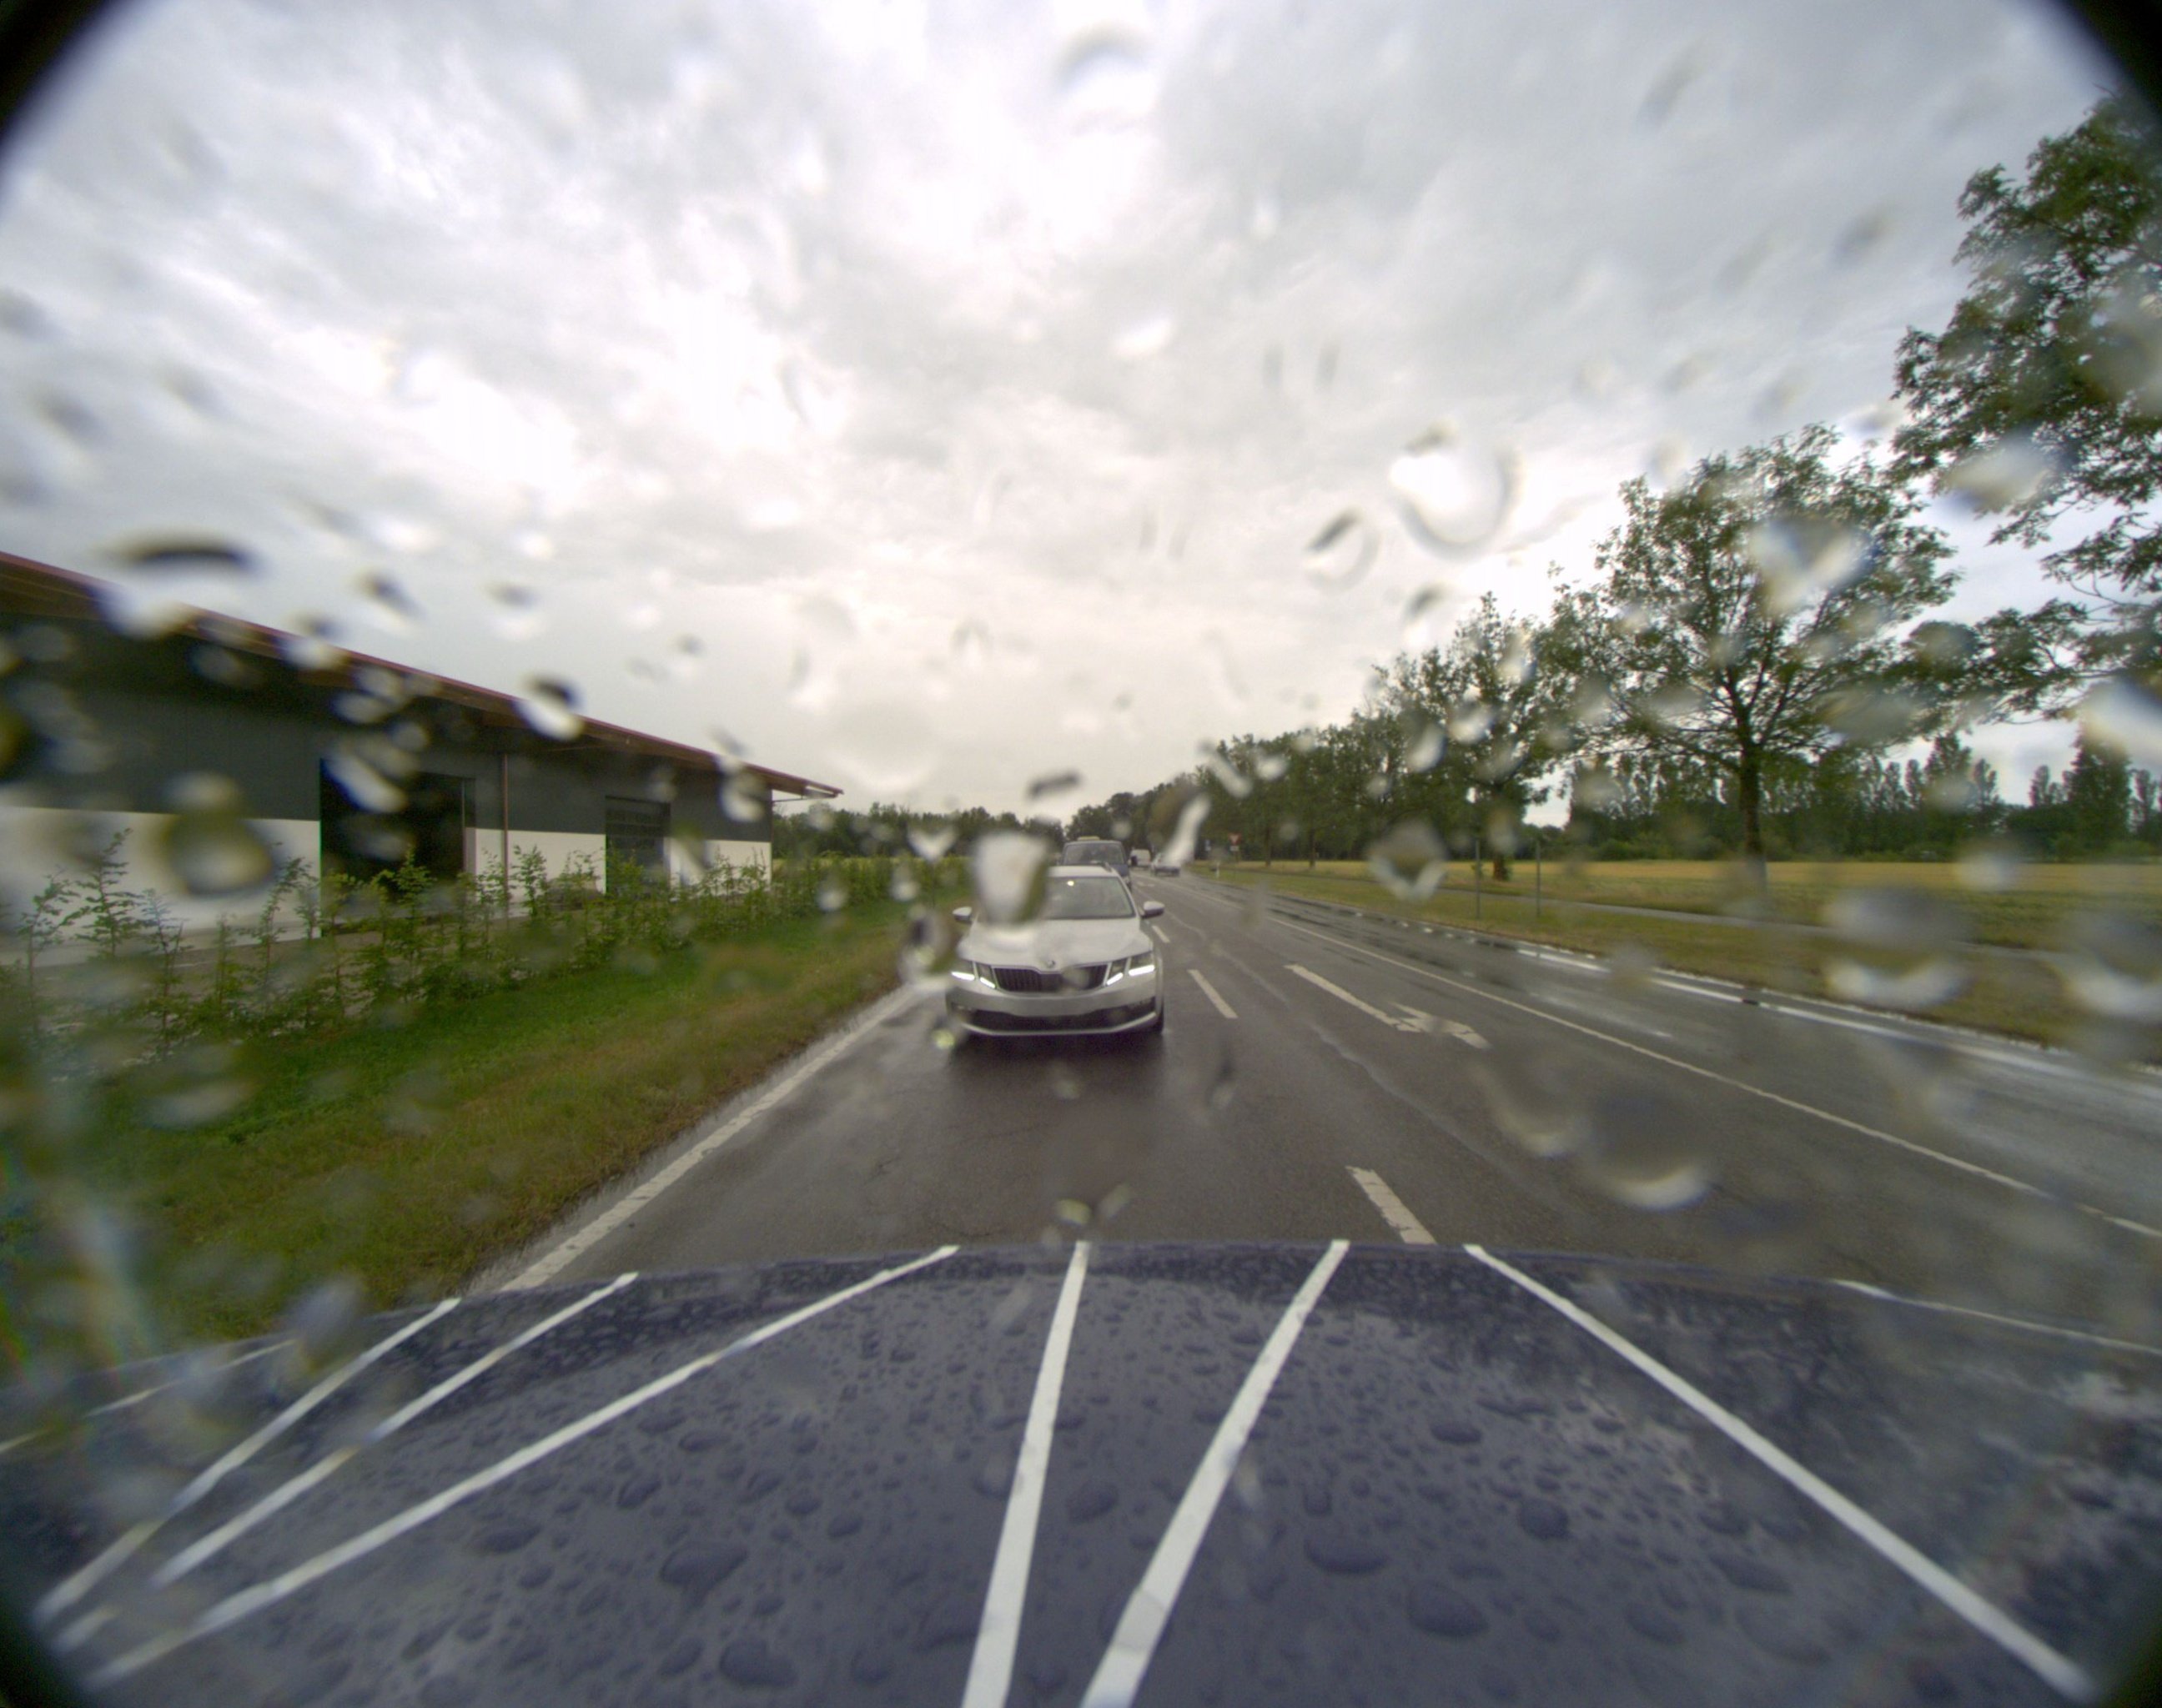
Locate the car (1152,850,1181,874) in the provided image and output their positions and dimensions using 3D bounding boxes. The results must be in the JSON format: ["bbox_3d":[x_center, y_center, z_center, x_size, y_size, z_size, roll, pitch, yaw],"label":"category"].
[{"bbox_3d":[6.242,0.564,55.844,1.708,1.661,4.156,1,0,2],"label":"car"}]

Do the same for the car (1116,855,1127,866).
[{"bbox_3d":[5.920,0.985,110.691,1.504,1.521,3.301,1,1,2],"label":"car"}]

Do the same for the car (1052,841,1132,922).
[{"bbox_3d":[0.296,0.650,20.183,1.892,1.939,4.000,0,1,1],"label":"car"}]

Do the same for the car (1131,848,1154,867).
[{"bbox_3d":[6.102,0.319,75.953,1.921,1.851,4.684,1,1,0],"label":"car"}]

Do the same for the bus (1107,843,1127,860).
[{"bbox_3d":[6.466,-0.530,138.914,2.958,2.895,12.473,0,1,0],"label":"bus"}]

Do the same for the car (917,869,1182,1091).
[{"bbox_3d":[-0.194,0.950,7.710,1.843,1.379,4.569,-2,1,1],"label":"car"}]

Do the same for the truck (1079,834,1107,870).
[{"bbox_3d":[1.385,-0.293,88.738,2.931,3.828,14.119,0,0,1],"label":"truck"}]
